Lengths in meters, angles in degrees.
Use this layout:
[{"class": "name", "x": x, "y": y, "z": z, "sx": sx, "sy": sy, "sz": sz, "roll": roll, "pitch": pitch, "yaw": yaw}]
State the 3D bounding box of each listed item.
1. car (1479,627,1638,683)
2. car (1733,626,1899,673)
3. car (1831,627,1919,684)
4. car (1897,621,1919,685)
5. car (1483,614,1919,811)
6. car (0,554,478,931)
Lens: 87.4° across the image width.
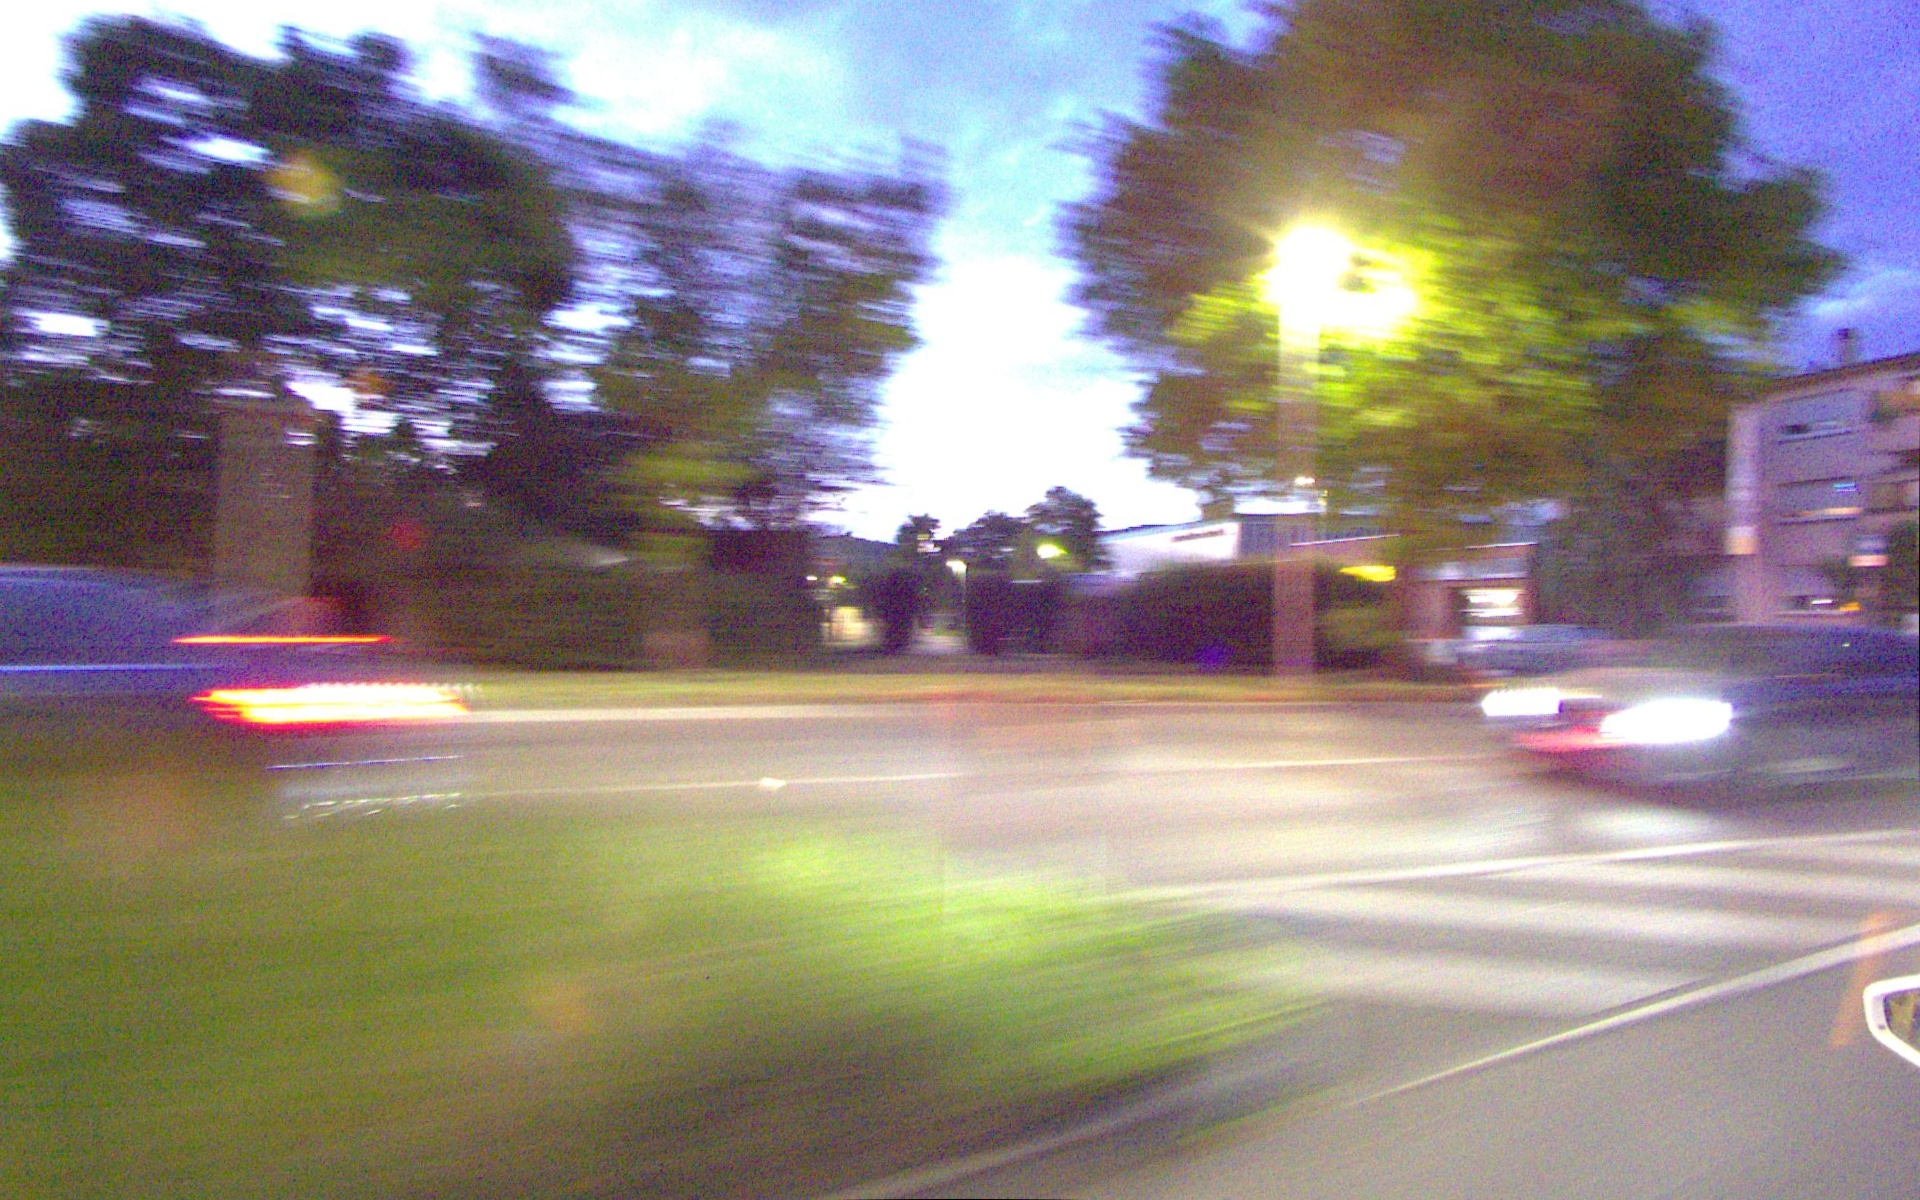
[{"class": "car", "x": 15.860, "y": 1.441, "z": 26.811, "sx": 1.474, "sy": 1.377, "sz": 3.498, "roll": 2, "pitch": -3, "yaw": -21}, {"class": "car", "x": 23.331, "y": 1.339, "z": 27.470, "sx": 3.149, "sy": 1.146, "sz": 1.550, "roll": 1, "pitch": 0, "yaw": 3}, {"class": "car", "x": 24.130, "y": 1.372, "z": 24.910, "sx": 3.625, "sy": 1.329, "sz": 1.550, "roll": 1, "pitch": 0, "yaw": 4}, {"class": "car", "x": 23.809, "y": 1.249, "z": 22.754, "sx": 3.625, "sy": 1.439, "sz": 1.550, "roll": 1, "pitch": 0, "yaw": 3}, {"class": "car", "x": 7.146, "y": 0.911, "z": 8.929, "sx": 4.514, "sy": 1.422, "sz": 1.758, "roll": 2, "pitch": 0, "yaw": -18}, {"class": "car", "x": -4.652, "y": 0.529, "z": 4.433, "sx": 4.465, "sy": 1.465, "sz": 1.754, "roll": 2, "pitch": 0, "yaw": -25}]
